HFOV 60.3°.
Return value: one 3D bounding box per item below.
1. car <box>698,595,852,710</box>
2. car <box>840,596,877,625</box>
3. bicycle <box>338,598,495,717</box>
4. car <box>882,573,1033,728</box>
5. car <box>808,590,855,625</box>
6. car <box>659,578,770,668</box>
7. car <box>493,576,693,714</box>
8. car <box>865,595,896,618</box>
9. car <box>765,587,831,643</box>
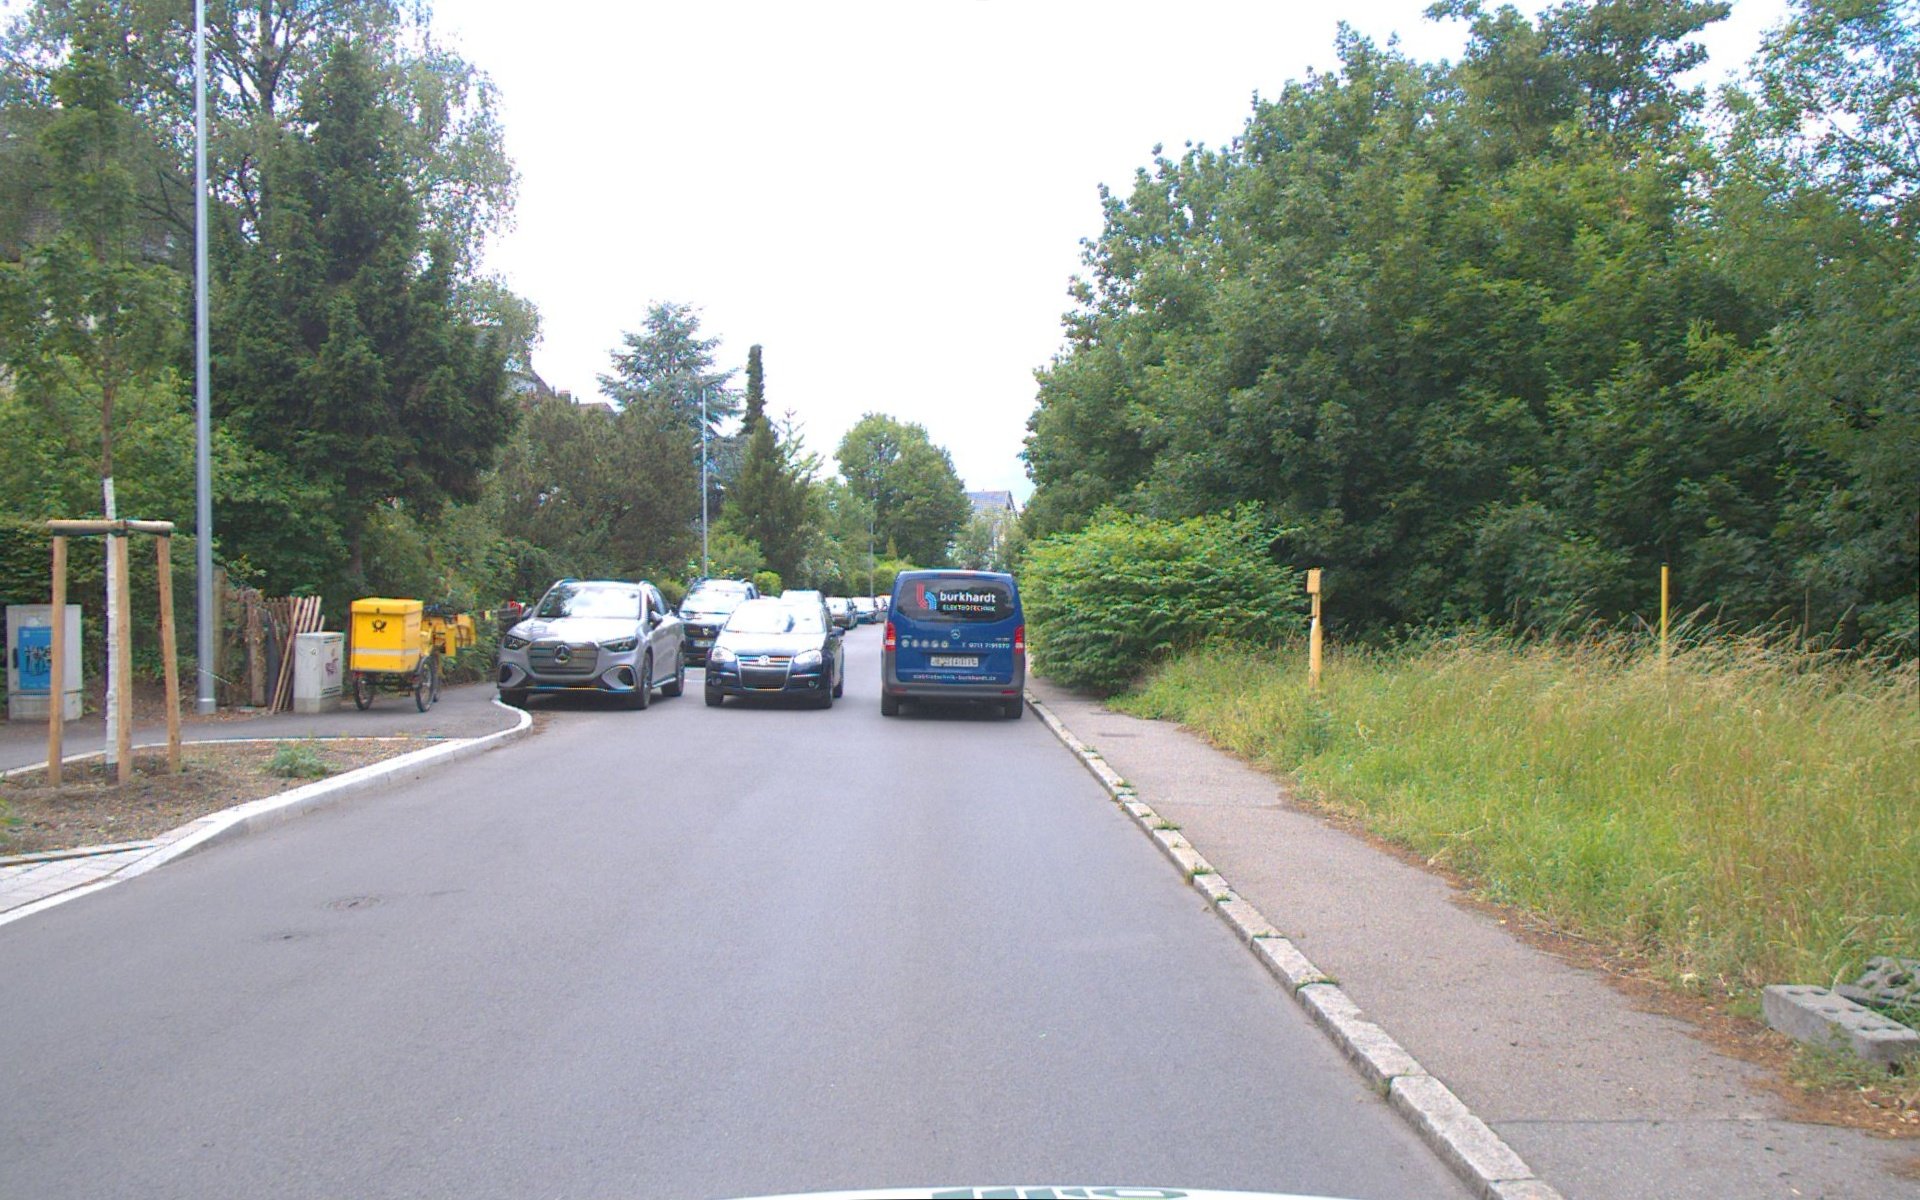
[{"bbox_3d":[-2.562,0.689,23.722,1.782,1.469,3.999,1,0,-1],"label":"car"},{"bbox_3d":[-5.720,0.588,93.335,1.889,1.438,3.963,1,2,-1],"label":"car"},{"bbox_3d":[-6.385,0.636,19.639,0.887,1.273,2.915,2,0,-1],"label":"bicycle"},{"bbox_3d":[-0.120,0.588,22.403,1.851,1.876,3.998,1,1,-3],"label":"car"},{"bbox_3d":[-5.873,0.310,76.102,1.889,1.438,3.963,1,2,-1],"label":"car"},{"bbox_3d":[-5.207,0.447,35.511,1.794,1.782,4.000,1,0,-1],"label":"car"},{"bbox_3d":[-4.887,0.553,22.616,1.798,1.659,4.300,1,0,-1],"label":"car"},{"bbox_3d":[-5.368,0.427,111.977,1.889,1.438,3.963,1,2,-1],"label":"car"},{"bbox_3d":[-5.551,0.483,57.150,1.853,1.721,4.549,1,2,-1],"label":"car"}]
